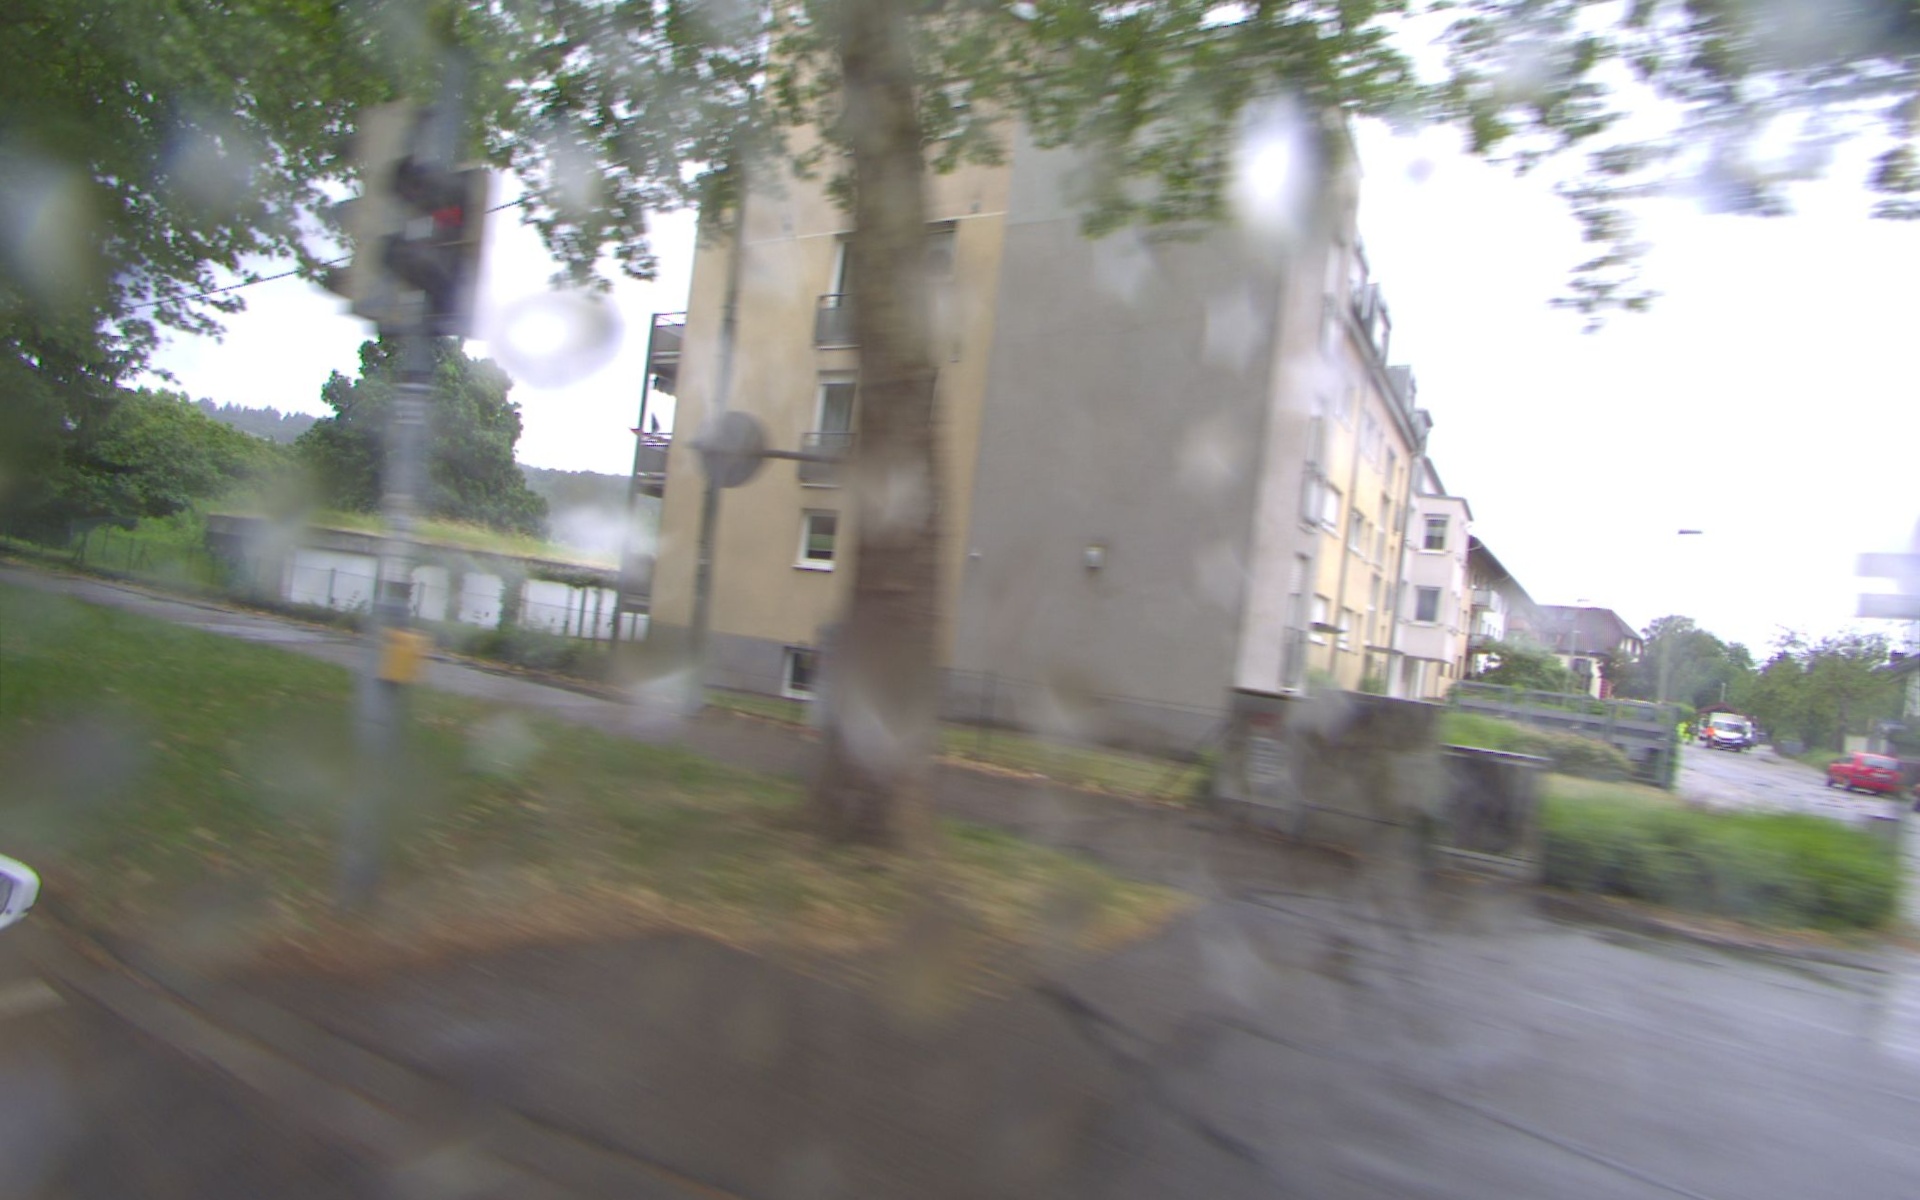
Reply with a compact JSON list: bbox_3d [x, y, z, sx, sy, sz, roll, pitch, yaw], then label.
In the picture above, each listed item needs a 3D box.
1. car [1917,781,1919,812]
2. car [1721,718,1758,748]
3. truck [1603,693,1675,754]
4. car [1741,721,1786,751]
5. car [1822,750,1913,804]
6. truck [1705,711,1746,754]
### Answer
[{"bbox_3d":[28.640,5.482,28.222,1.691,1.517,3.514,6,-2,30],"label":"car"},{"bbox_3d":[66.625,11.354,85.961,1.904,2.248,3.980,6,-2,44],"label":"car"},{"bbox_3d":[38.489,6.938,57.231,2.500,2.884,8.524,6,-2,30],"label":"truck"},{"bbox_3d":[73.061,12.370,91.444,3.963,2.248,1.982,8,-2,-34],"label":"car"},{"bbox_3d":[34.014,6.597,37.793,1.691,1.517,3.514,6,-2,30],"label":"car"},{"bbox_3d":[58.292,10.075,76.696,2.050,2.819,5.224,6,-2,36],"label":"truck"}]
